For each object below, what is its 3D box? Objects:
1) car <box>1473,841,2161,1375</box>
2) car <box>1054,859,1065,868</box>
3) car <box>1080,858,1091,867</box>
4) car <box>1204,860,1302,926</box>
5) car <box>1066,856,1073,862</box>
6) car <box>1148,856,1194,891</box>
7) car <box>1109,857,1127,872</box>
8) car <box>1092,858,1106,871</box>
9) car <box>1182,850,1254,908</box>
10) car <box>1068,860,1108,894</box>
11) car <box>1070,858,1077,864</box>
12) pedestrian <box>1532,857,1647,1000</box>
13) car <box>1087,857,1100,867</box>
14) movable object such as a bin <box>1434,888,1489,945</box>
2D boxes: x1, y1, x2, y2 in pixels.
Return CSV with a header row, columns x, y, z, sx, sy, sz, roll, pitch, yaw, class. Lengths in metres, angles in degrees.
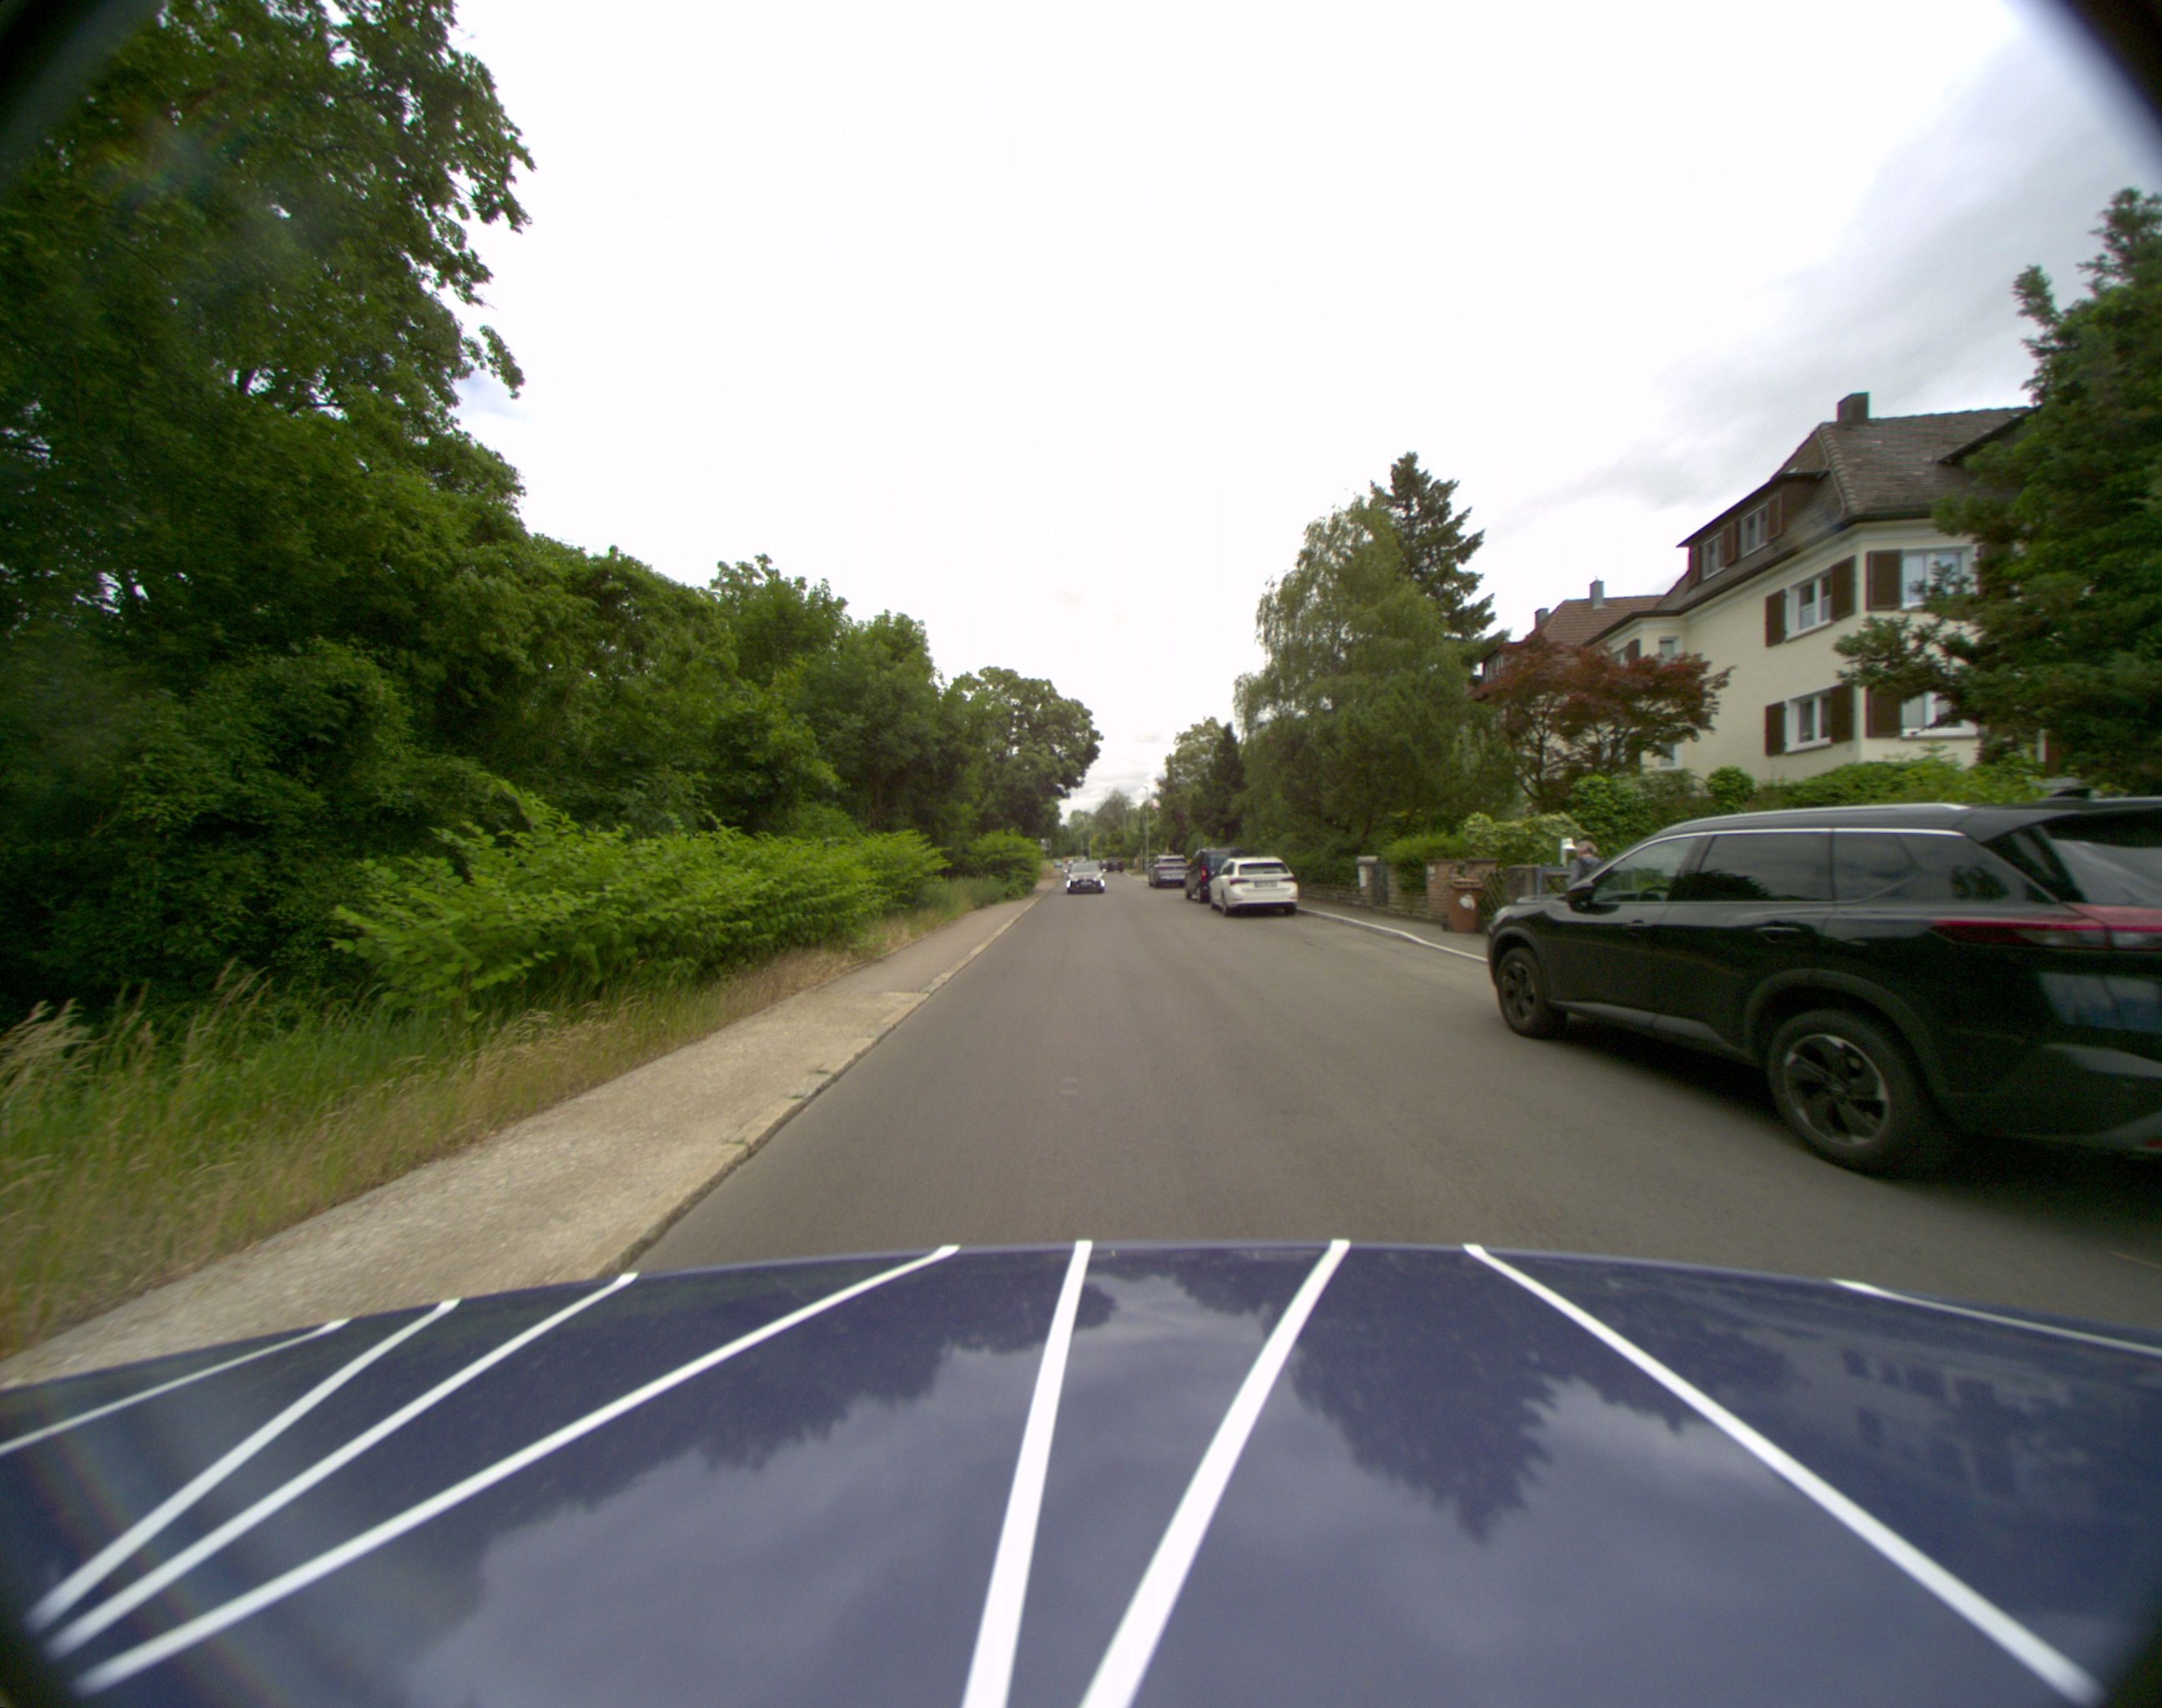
x,y,z,sx,sy,sz,roll,pitch,yaw,class
4.314,0.794,4.467,1.796,1.654,4.392,-2,0,1,car
-4.307,1.795,150.403,1.923,1.670,4.194,-2,0,-4,car
0.877,1.640,148.284,1.922,1.670,4.194,-2,0,-2,car
4.413,0.939,20.156,1.711,1.502,4.555,-2,0,2,car
-3.793,1.683,249.479,1.922,1.670,4.194,-2,0,-2,car
4.552,0.954,38.970,1.800,1.597,4.730,-2,0,0,car
4.387,1.264,90.253,1.922,1.670,4.195,-2,0,1,car
2.179,1.265,91.936,1.711,1.466,4.195,-2,0,1,car
4.581,0.802,25.975,1.711,1.789,4.298,-2,0,1,car
0.364,1.029,35.432,1.711,1.466,4.195,-2,0,1,car
-2.195,2.037,218.348,1.922,1.670,4.194,-2,0,-2,car
5.903,0.833,8.873,0.771,1.565,0.820,-2,0,1,pedestrian
2.115,1.380,130.034,1.922,1.670,4.194,-2,0,-2,car
6.697,1.085,13.396,0.612,0.927,0.654,-2,0,0,movable object such as a bin
